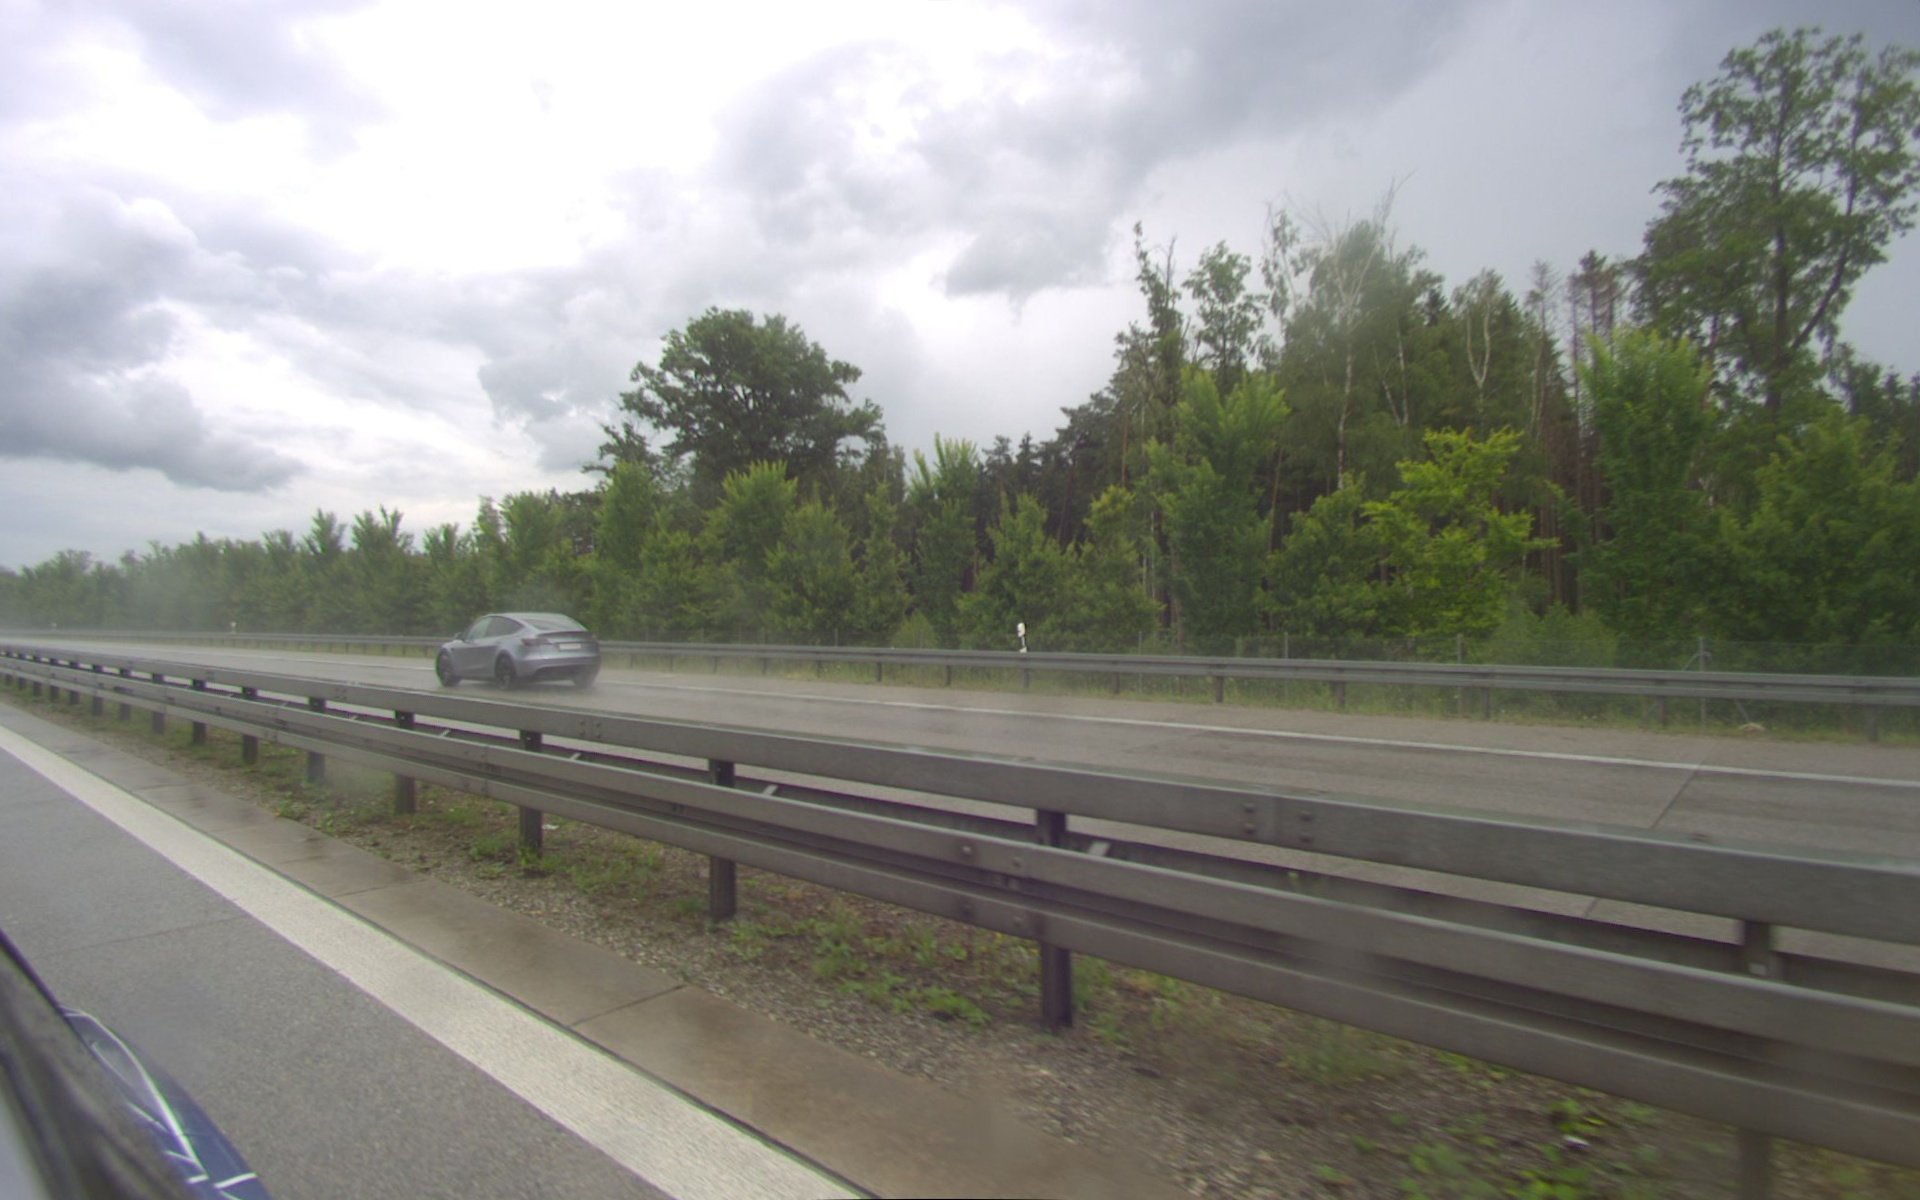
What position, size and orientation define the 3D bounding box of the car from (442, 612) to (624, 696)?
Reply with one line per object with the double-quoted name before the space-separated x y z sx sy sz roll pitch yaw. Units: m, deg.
"car" -9.083 1.075 21.387 3.997 1.594 1.973 -1 -1 40
